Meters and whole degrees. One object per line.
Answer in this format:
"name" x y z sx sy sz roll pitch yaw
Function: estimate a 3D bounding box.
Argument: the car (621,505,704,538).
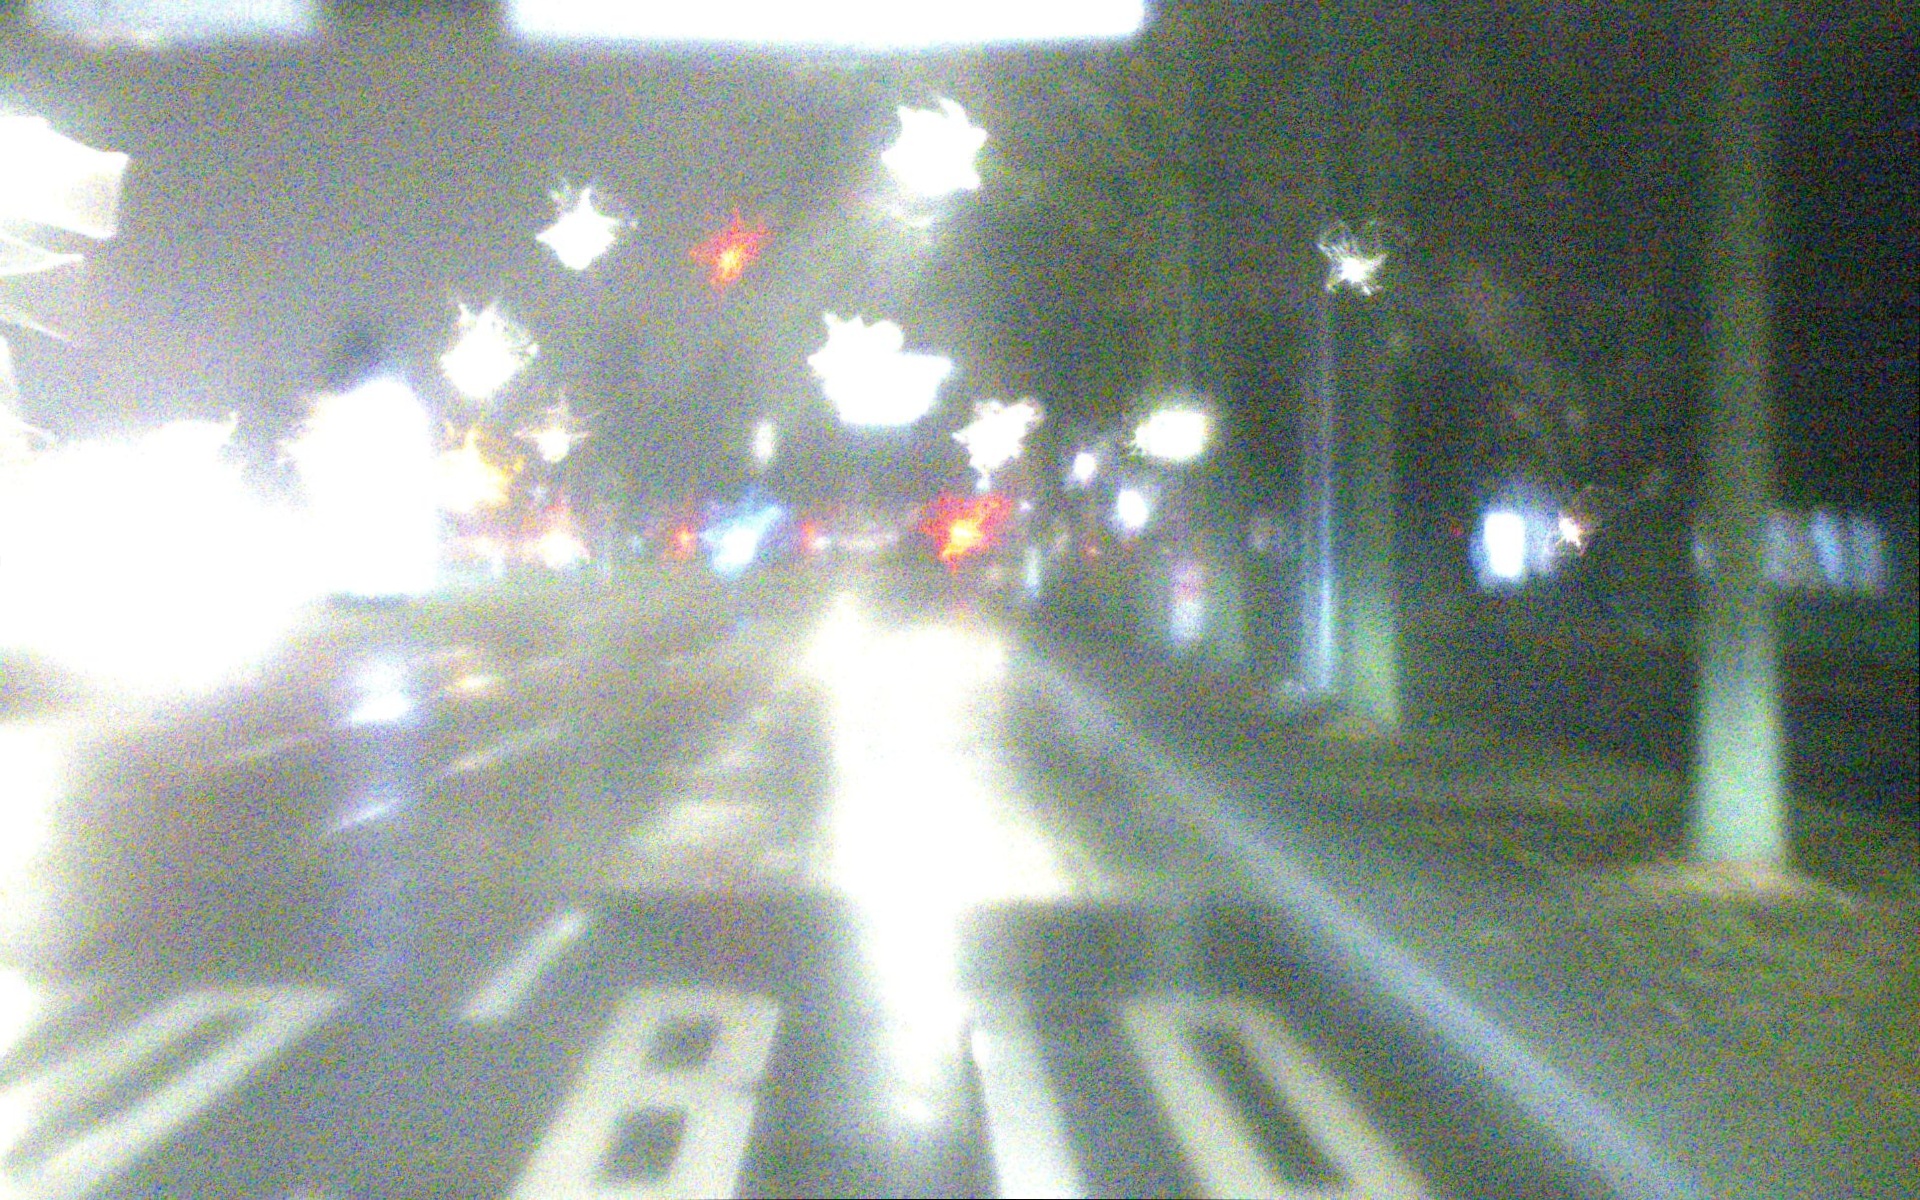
"car" -14.461 -3.824 167.436 3.951 1.573 1.737 1 1 -3

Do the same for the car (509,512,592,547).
"car" -19.999 -3.456 167.763 3.986 1.610 1.837 1 1 -7

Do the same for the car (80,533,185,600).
"car" -22.309 -0.922 92.809 1.829 1.707 4.441 1 1 -1

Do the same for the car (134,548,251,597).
"car" -24.483 -0.884 109.561 1.830 1.459 3.998 0 2 -43
